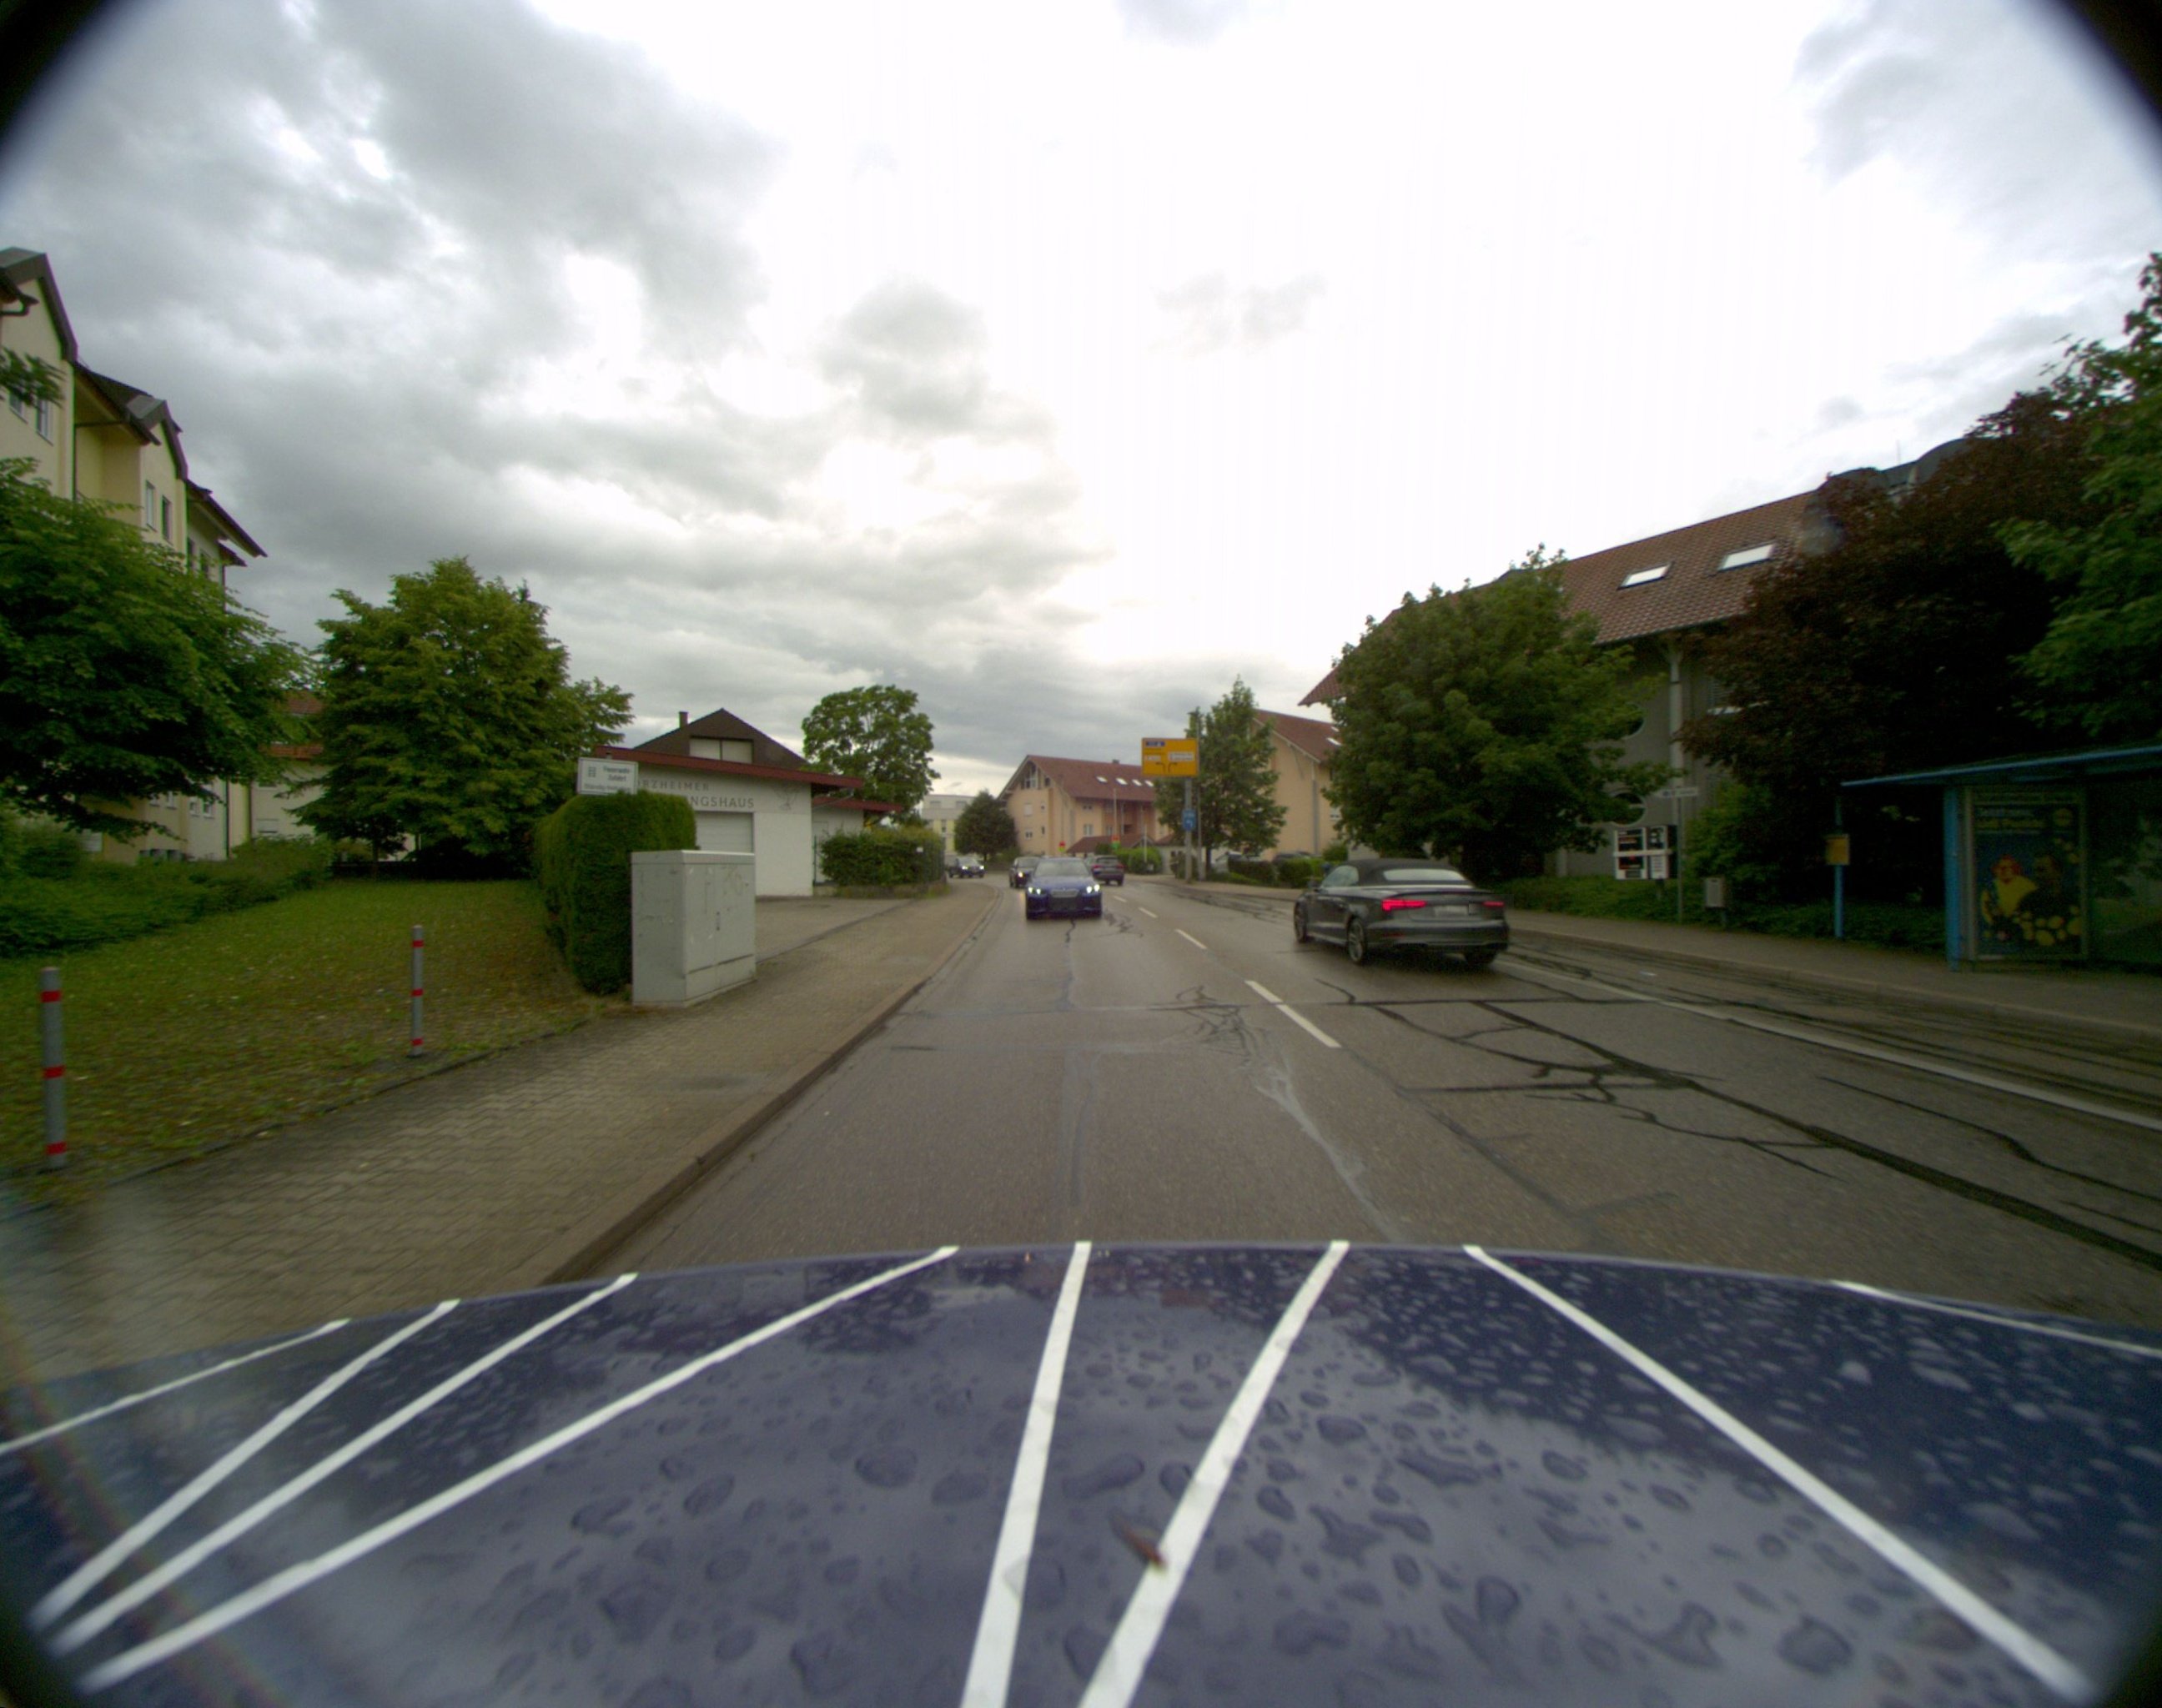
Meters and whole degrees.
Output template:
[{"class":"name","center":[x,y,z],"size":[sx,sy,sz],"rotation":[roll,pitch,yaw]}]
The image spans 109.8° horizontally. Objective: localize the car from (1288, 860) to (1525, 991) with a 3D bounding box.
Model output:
[{"class":"car","center":[4.317,0.851,10.800],"size":[1.678,1.434,4.000],"rotation":[-1,0,1]}]

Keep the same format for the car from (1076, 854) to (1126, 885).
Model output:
[{"class":"car","center":[0.973,0.785,39.175],"size":[1.782,1.464,4.247],"rotation":[0,-1,-9]}]

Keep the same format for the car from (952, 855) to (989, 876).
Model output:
[{"class":"car","center":[-8.535,0.889,58.649],"size":[1.844,1.541,3.992],"rotation":[-1,0,-23]}]

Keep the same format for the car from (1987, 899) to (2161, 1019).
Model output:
[{"class":"car","center":[15.391,1.469,10.110],"size":[1.774,1.455,3.998],"rotation":[-1,0,-5]}]

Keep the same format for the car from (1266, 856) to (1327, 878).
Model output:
[{"class":"car","center":[13.644,0.796,48.241],"size":[1.519,1.373,3.430],"rotation":[0,0,-40]}]

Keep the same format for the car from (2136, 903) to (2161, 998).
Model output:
[{"class":"car","center":[17.801,1.511,10.205],"size":[1.615,1.455,3.998],"rotation":[-1,0,-5]}]

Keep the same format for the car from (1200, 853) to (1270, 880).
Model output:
[{"class":"car","center":[9.429,0.719,46.768],"size":[1.741,1.592,3.989],"rotation":[0,0,-40]}]

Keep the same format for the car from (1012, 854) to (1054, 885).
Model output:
[{"class":"car","center":[-2.463,0.750,38.121],"size":[1.842,1.440,3.997],"rotation":[-1,0,-7]}]

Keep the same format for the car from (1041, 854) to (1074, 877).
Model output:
[{"class":"car","center":[-1.663,0.755,52.496],"size":[1.669,1.516,3.996],"rotation":[0,0,-10]}]

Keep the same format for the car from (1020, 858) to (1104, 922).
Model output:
[{"class":"car","center":[-0.409,0.844,19.668],"size":[1.913,1.425,4.301],"rotation":[-1,0,1]}]
